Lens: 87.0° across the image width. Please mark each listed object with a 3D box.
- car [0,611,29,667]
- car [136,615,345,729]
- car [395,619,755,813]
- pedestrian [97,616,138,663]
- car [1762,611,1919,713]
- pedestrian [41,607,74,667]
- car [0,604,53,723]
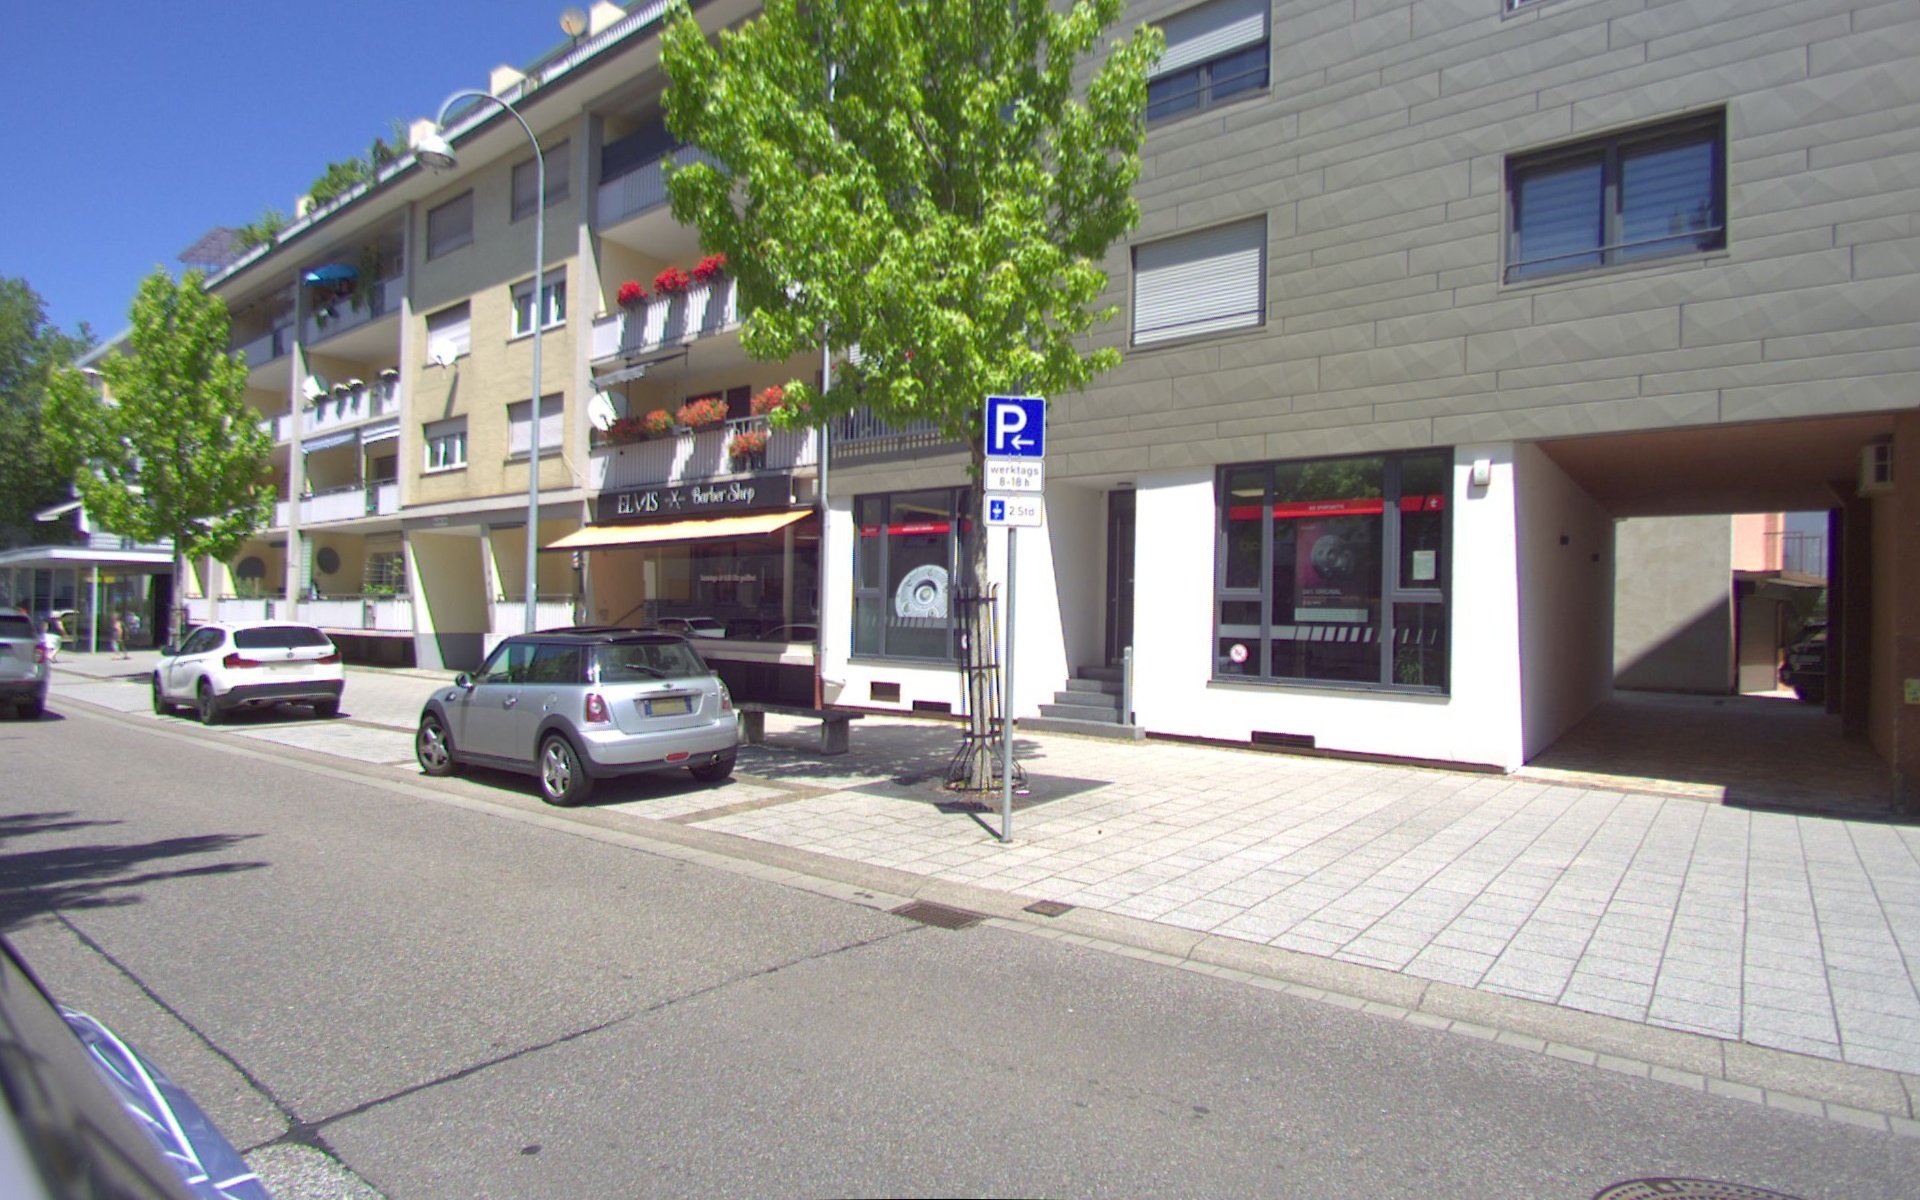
[{"bbox_3d":[-30.197,1.190,31.276,3.366,1.674,1.624,-1,0,39],"label":"car"},{"bbox_3d":[-11.755,1.066,16.432,4.295,1.604,1.678,-1,-1,39],"label":"car"},{"bbox_3d":[-3.713,0.934,9.543,3.544,1.485,1.605,-1,-2,39],"label":"car"},{"bbox_3d":[-27.458,1.285,32.981,0.693,1.510,0.773,0,-2,23],"label":"pedestrian"},{"bbox_3d":[16.982,1.094,18.502,3.930,1.697,2.006,1,-2,-24],"label":"car"},{"bbox_3d":[-28.005,1.144,31.402,0.657,1.818,0.687,2,-2,-37],"label":"pedestrian"},{"bbox_3d":[-16.368,0.944,16.087,4.747,1.767,1.884,-1,-3,36],"label":"car"}]
